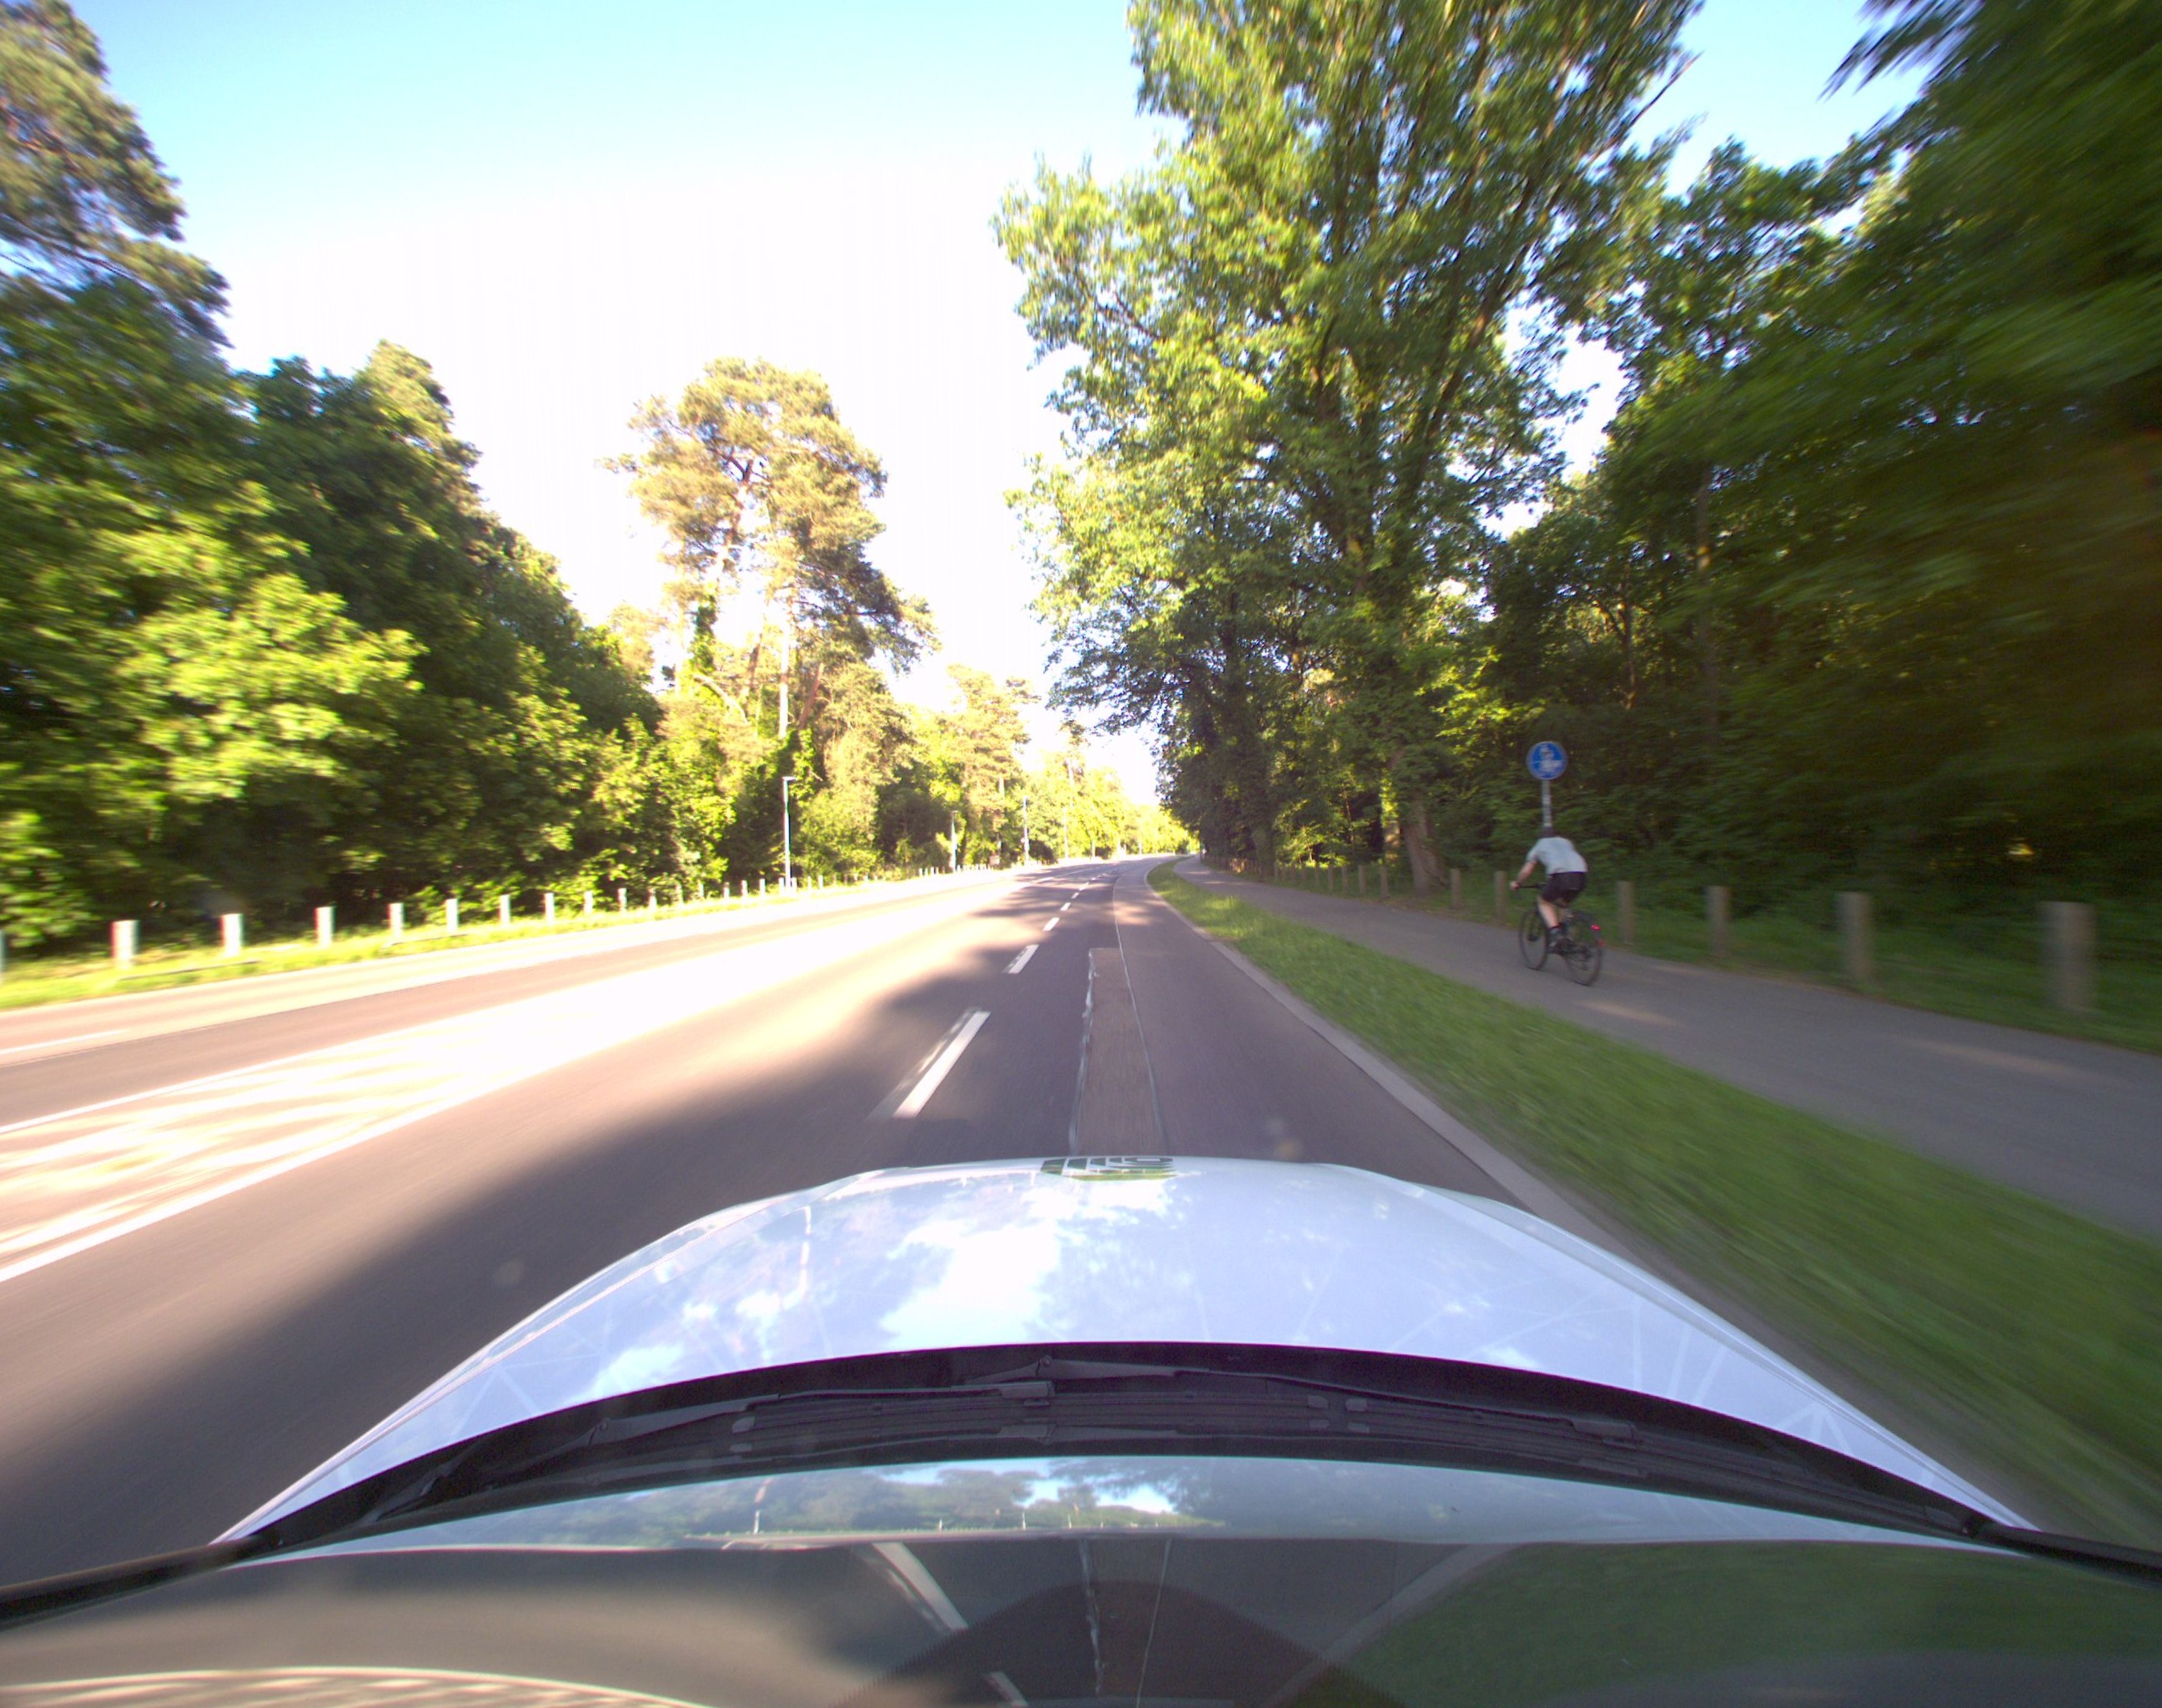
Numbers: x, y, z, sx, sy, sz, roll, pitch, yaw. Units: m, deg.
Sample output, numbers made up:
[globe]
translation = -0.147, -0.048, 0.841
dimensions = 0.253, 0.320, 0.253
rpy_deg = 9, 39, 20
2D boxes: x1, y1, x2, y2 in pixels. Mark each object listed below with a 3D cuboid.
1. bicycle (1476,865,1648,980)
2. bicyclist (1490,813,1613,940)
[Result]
[bicycle]
translation = 5.149, 0.679, 8.909
dimensions = 0.709, 1.056, 2.054
rpy_deg = -2, 0, 2
[bicyclist]
translation = 5.142, 0.231, 8.976
dimensions = 0.709, 1.288, 1.105
rpy_deg = -2, 0, 2
